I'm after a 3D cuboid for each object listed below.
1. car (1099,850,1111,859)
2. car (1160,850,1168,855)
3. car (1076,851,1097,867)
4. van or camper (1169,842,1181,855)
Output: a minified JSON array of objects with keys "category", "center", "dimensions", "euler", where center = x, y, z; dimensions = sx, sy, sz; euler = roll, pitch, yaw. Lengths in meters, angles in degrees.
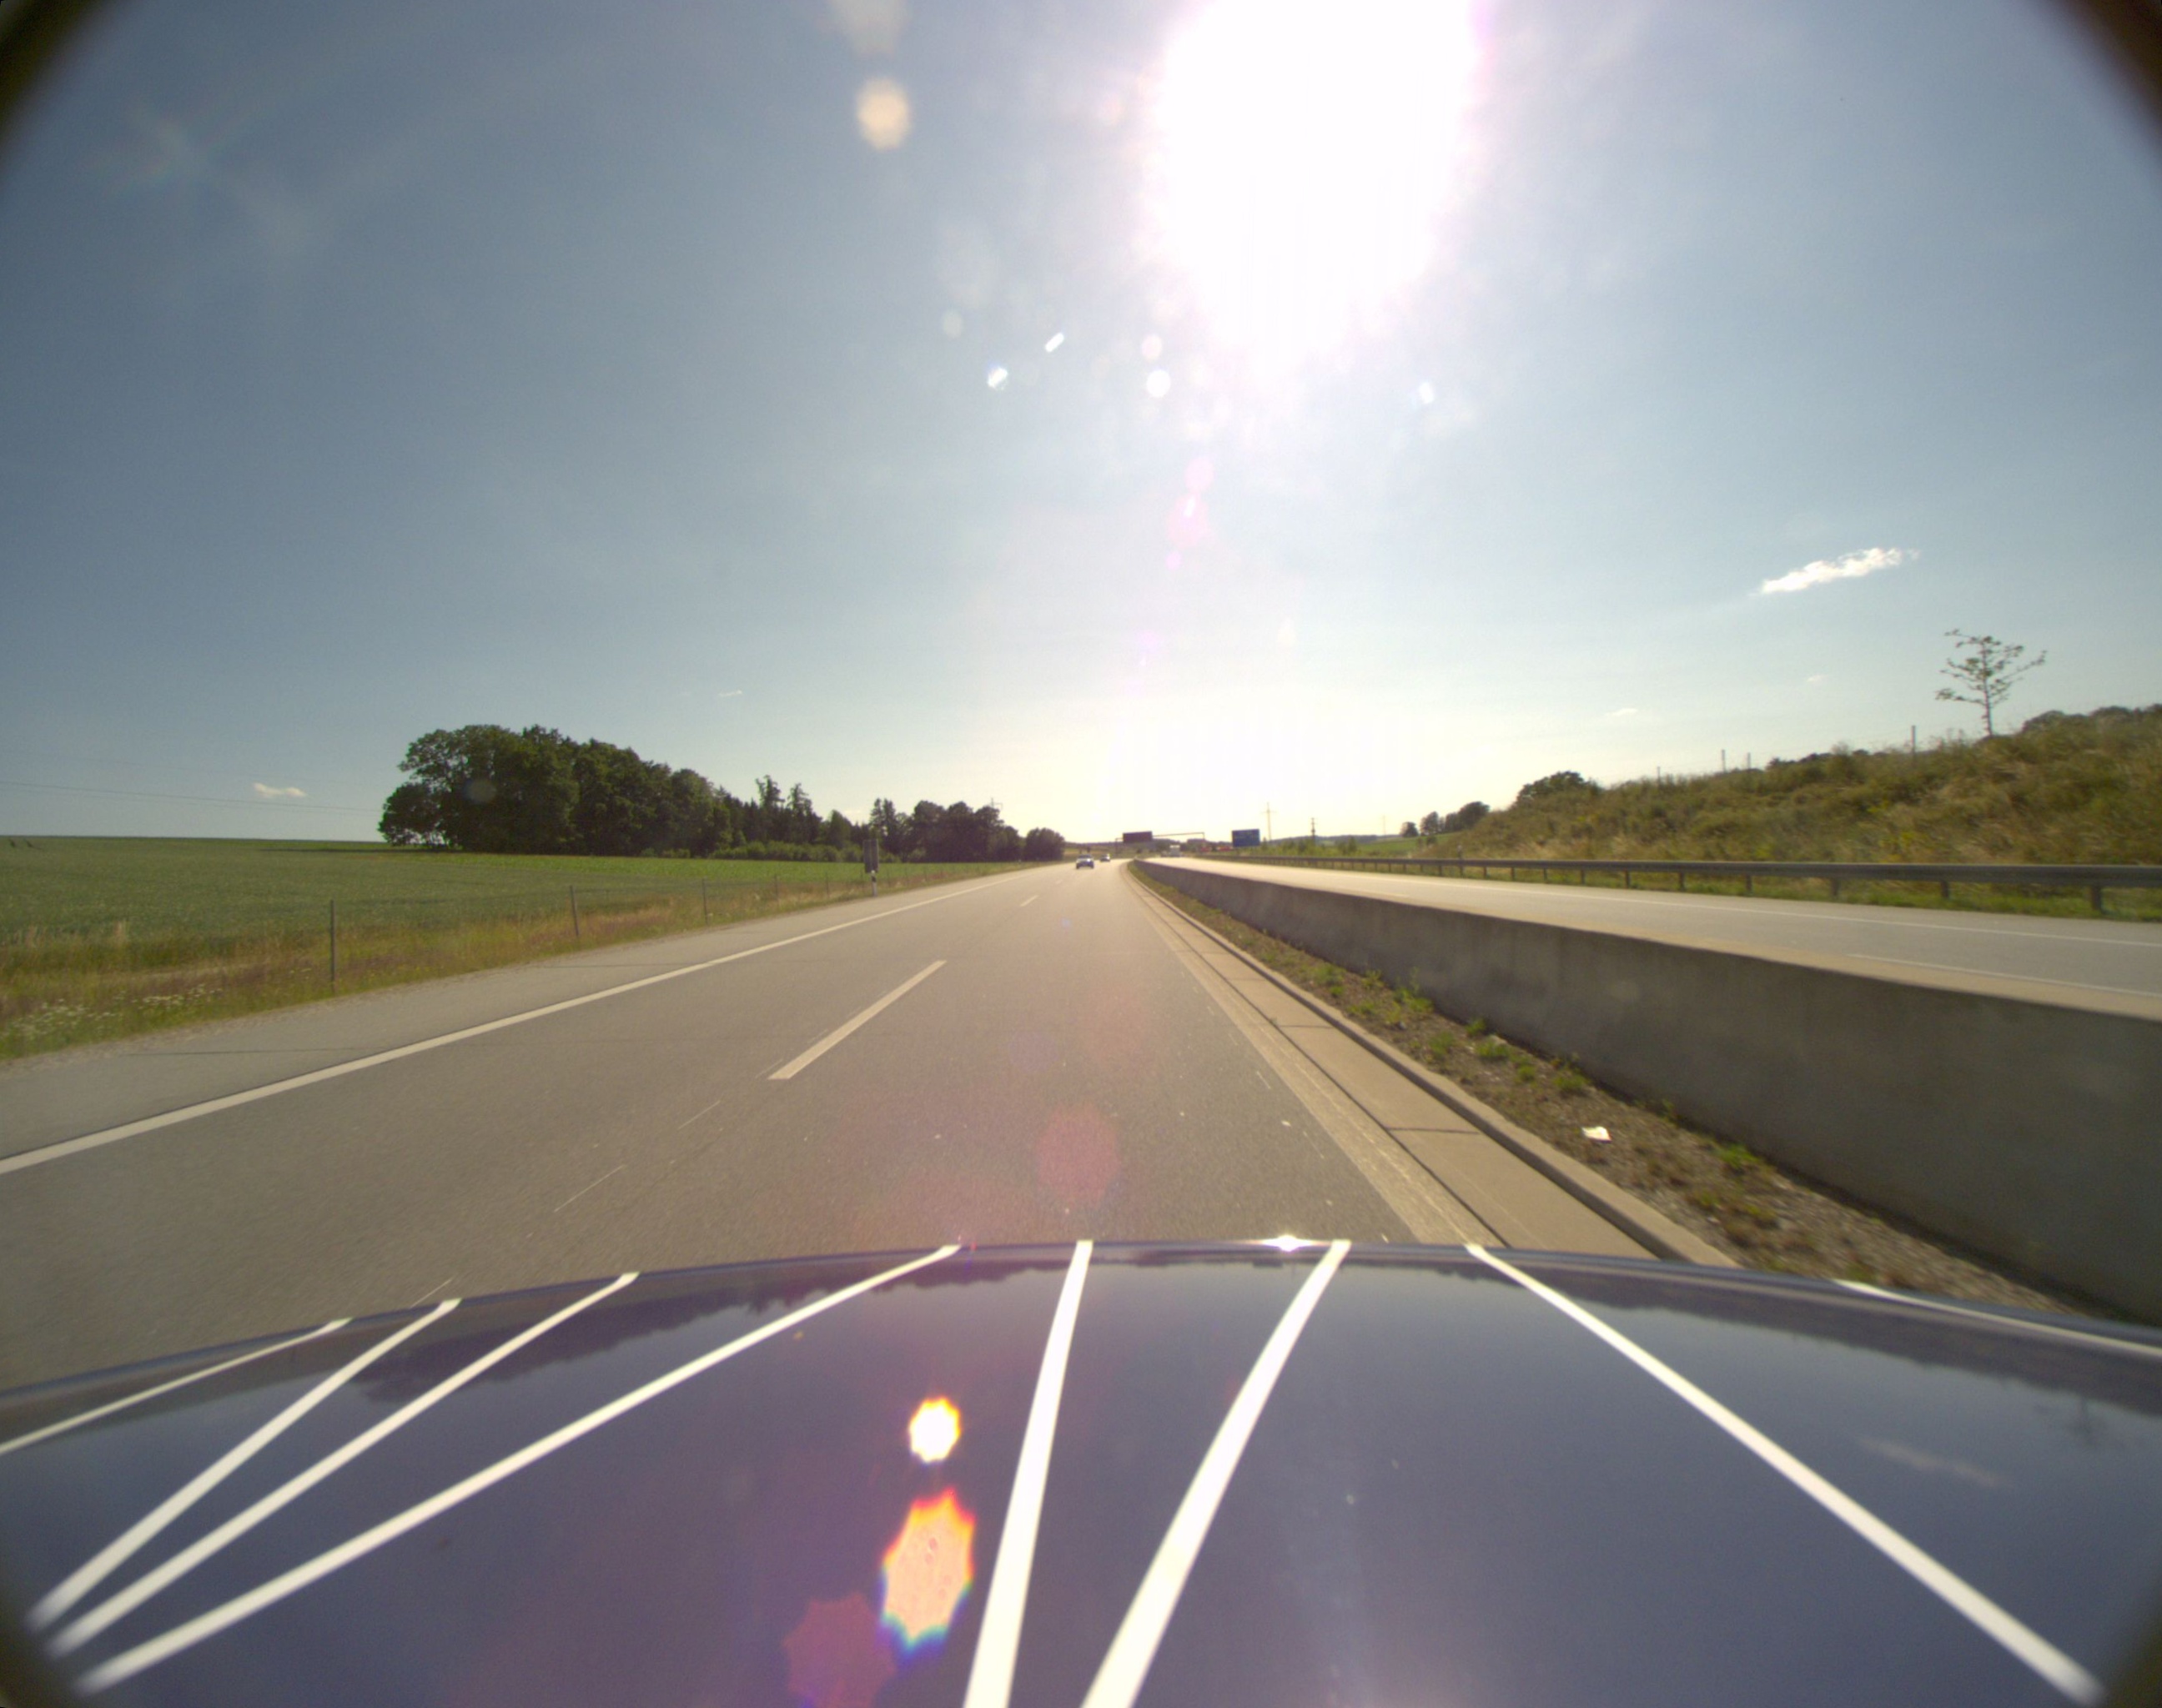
[{"category":"car","center":[4.376,0.173,137.176],"dimensions":[1.891,1.565,3.793],"euler":[-1,0,4]},{"category":"car","center":[24.892,-0.472,227.566],"dimensions":[1.991,1.699,4.347],"euler":[-1,0,4]},{"category":"car","center":[0.600,0.521,80.421],"dimensions":[1.891,1.565,3.793],"euler":[-1,0,4]},{"category":"van or camper","center":[23.696,-1.354,191.774],"dimensions":[2.596,3.062,7.440],"euler":[0,0,6]}]
